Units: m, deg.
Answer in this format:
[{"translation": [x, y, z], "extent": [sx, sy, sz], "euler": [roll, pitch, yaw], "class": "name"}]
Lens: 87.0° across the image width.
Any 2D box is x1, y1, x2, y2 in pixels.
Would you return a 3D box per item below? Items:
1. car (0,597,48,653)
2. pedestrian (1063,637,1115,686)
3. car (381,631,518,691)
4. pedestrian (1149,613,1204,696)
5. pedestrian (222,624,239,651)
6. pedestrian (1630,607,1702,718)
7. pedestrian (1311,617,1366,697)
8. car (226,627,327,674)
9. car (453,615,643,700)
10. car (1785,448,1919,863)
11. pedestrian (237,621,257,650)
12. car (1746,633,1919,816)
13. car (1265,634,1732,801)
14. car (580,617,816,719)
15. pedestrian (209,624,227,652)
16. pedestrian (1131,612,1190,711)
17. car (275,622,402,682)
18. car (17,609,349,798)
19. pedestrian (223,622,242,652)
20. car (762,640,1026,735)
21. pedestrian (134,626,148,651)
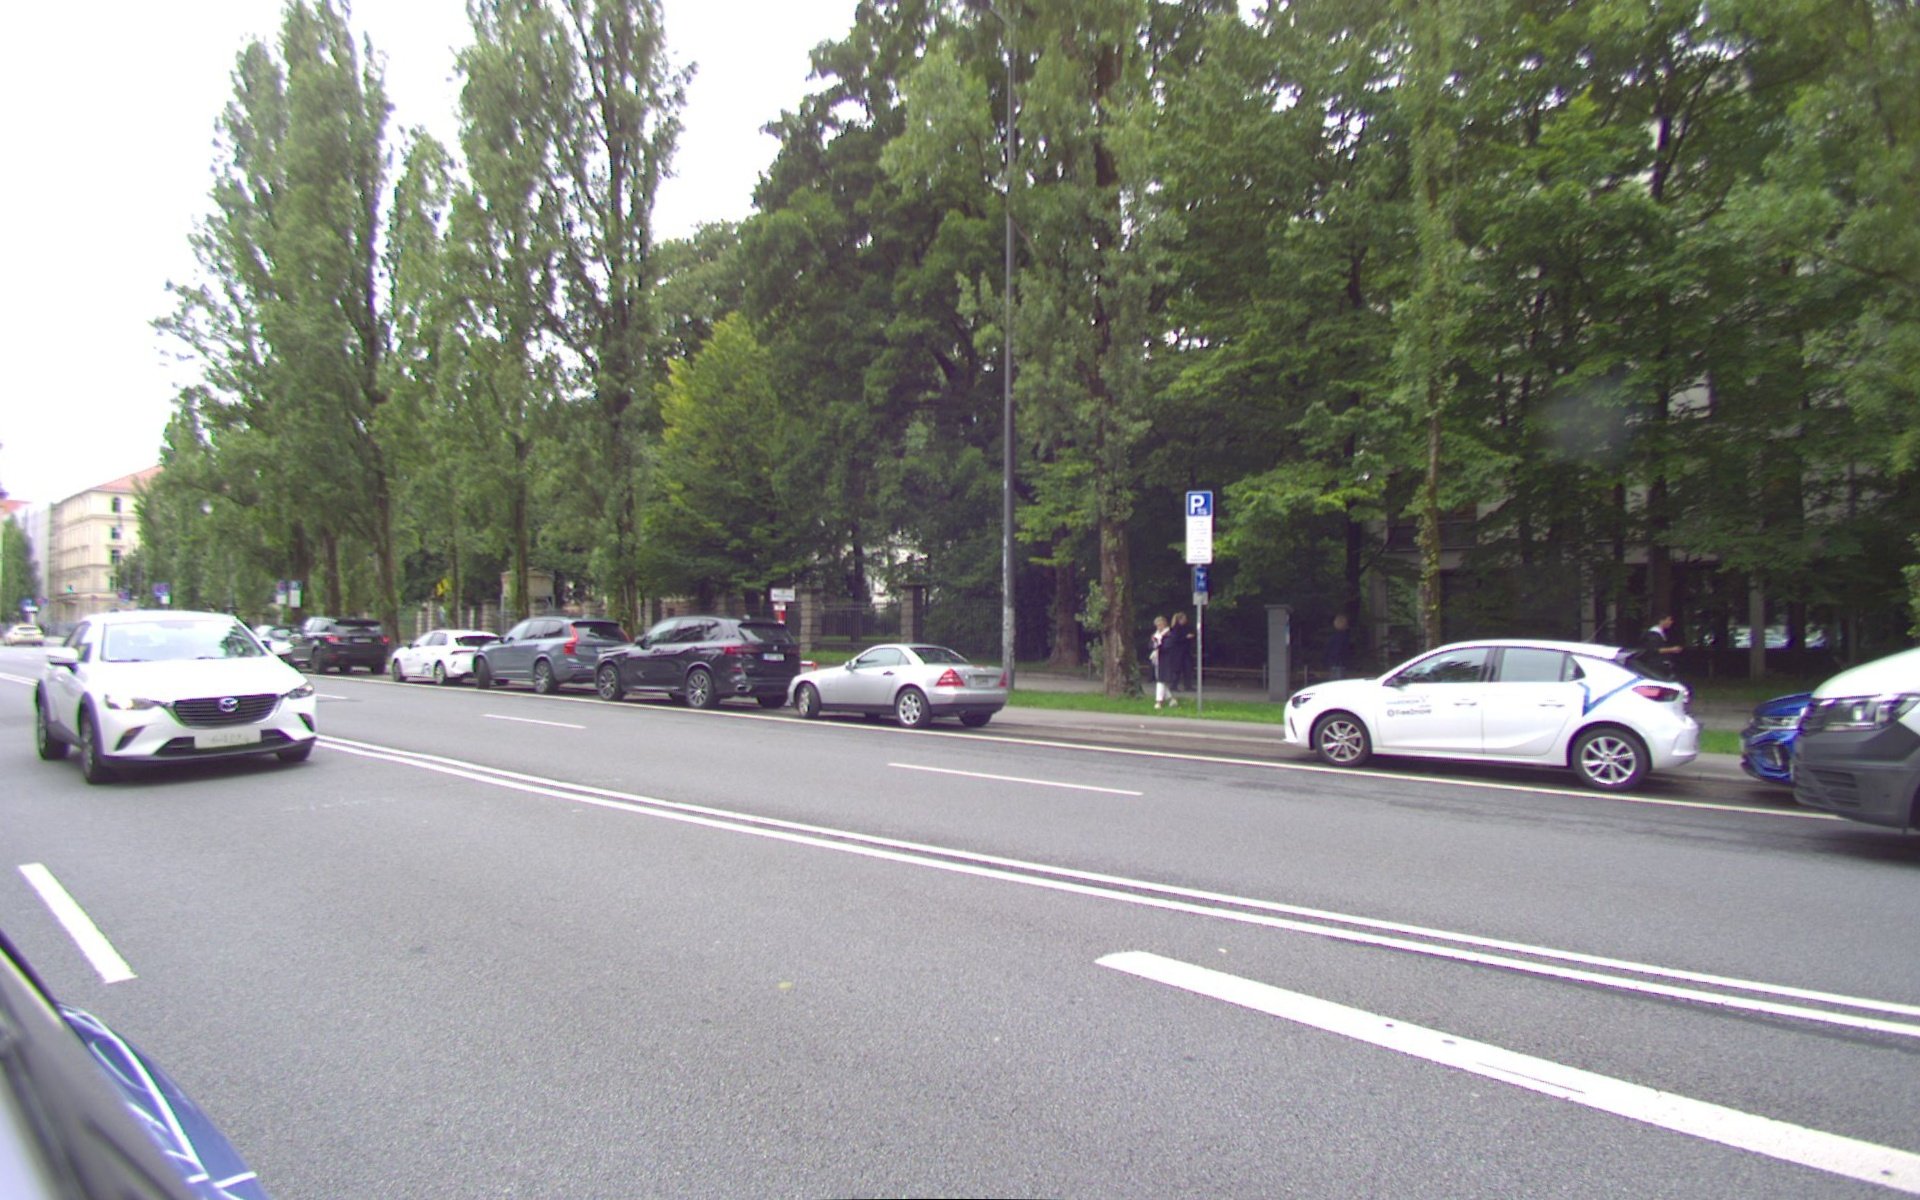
[{"translation": [-64.487, 1.703, 69.720], "extent": [4.491, 1.336, 1.778], "euler": [40, 12, 35], "class": "car"}, {"translation": [3.274, 1.543, 25.697], "extent": [0.922, 1.187, 0.957], "euler": [-1, -1, 40], "class": "pedestrian"}, {"translation": [-13.743, 1.602, 27.139], "extent": [4.269, 1.470, 1.687], "euler": [-1, -4, 40], "class": "car"}, {"translation": [4.712, 1.180, 22.008], "extent": [0.956, 1.755, 0.659], "euler": [-2, -2, 41], "class": "pedestrian"}, {"translation": [-46.256, 2.375, 64.163], "extent": [0.910, 1.729, 0.653], "euler": [-2, -3, 39], "class": "pedestrian"}, {"translation": [11.826, 1.014, 16.953], "extent": [0.889, 1.785, 0.729], "euler": [-1, -1, 41], "class": "pedestrian"}, {"translation": [7.950, 1.172, 21.261], "extent": [0.881, 1.611, 0.729], "euler": [-1, -1, 41], "class": "pedestrian"}, {"translation": [-24.921, 1.834, 36.863], "extent": [4.386, 1.596, 1.924], "euler": [-2, -4, 41], "class": "car"}, {"translation": [-9.833, 1.340, 23.942], "extent": [5.175, 1.803, 1.890], "euler": [-1, -5, 40], "class": "car"}, {"translation": [8.641, 0.328, 5.203], "extent": [6.751, 2.502, 2.205], "euler": [-1, -4, 39], "class": "car"}, {"translation": [-44.295, 2.185, 62.893], "extent": [1.092, 1.786, 0.702], "euler": [-1, -2, 39], "class": "pedestrian"}, {"translation": [8.779, 1.040, 8.358], "extent": [3.582, 1.462, 1.692], "euler": [-1, -5, 39], "class": "car"}, {"translation": [5.686, 1.133, 10.983], "extent": [4.228, 1.463, 1.753], "euler": [-1, -4, 39], "class": "car"}, {"translation": [-5.255, 1.286, 19.966], "extent": [4.890, 1.781, 1.922], "euler": [-1, -5, 39], "class": "car"}, {"translation": [-46.552, 2.375, 63.474], "extent": [0.885, 1.713, 0.681], "euler": [-2, -3, 39], "class": "pedestrian"}, {"translation": [3.530, 1.065, 17.811], "extent": [0.751, 1.677, 0.730], "euler": [-2, -3, 41], "class": "pedestrian"}, {"translation": [-20.148, 1.657, 32.713], "extent": [4.795, 1.800, 2.025], "euler": [-1, -4, 40], "class": "car"}, {"translation": [-7.983, 0.905, 10.279], "extent": [4.006, 1.537, 1.885], "euler": [-2, -2, 41], "class": "car"}, {"translation": [-44.789, 2.284, 62.305], "extent": [1.092, 1.847, 0.702], "euler": [-2, -2, 39], "class": "pedestrian"}, {"translation": [-1.160, 1.360, 16.567], "extent": [4.230, 1.344, 1.808], "euler": [-1, -5, 40], "class": "car"}, {"translation": [-59.027, 2.771, 72.941], "extent": [0.581, 1.744, 0.527], "euler": [-1, -2, 29], "class": "pedestrian"}]
